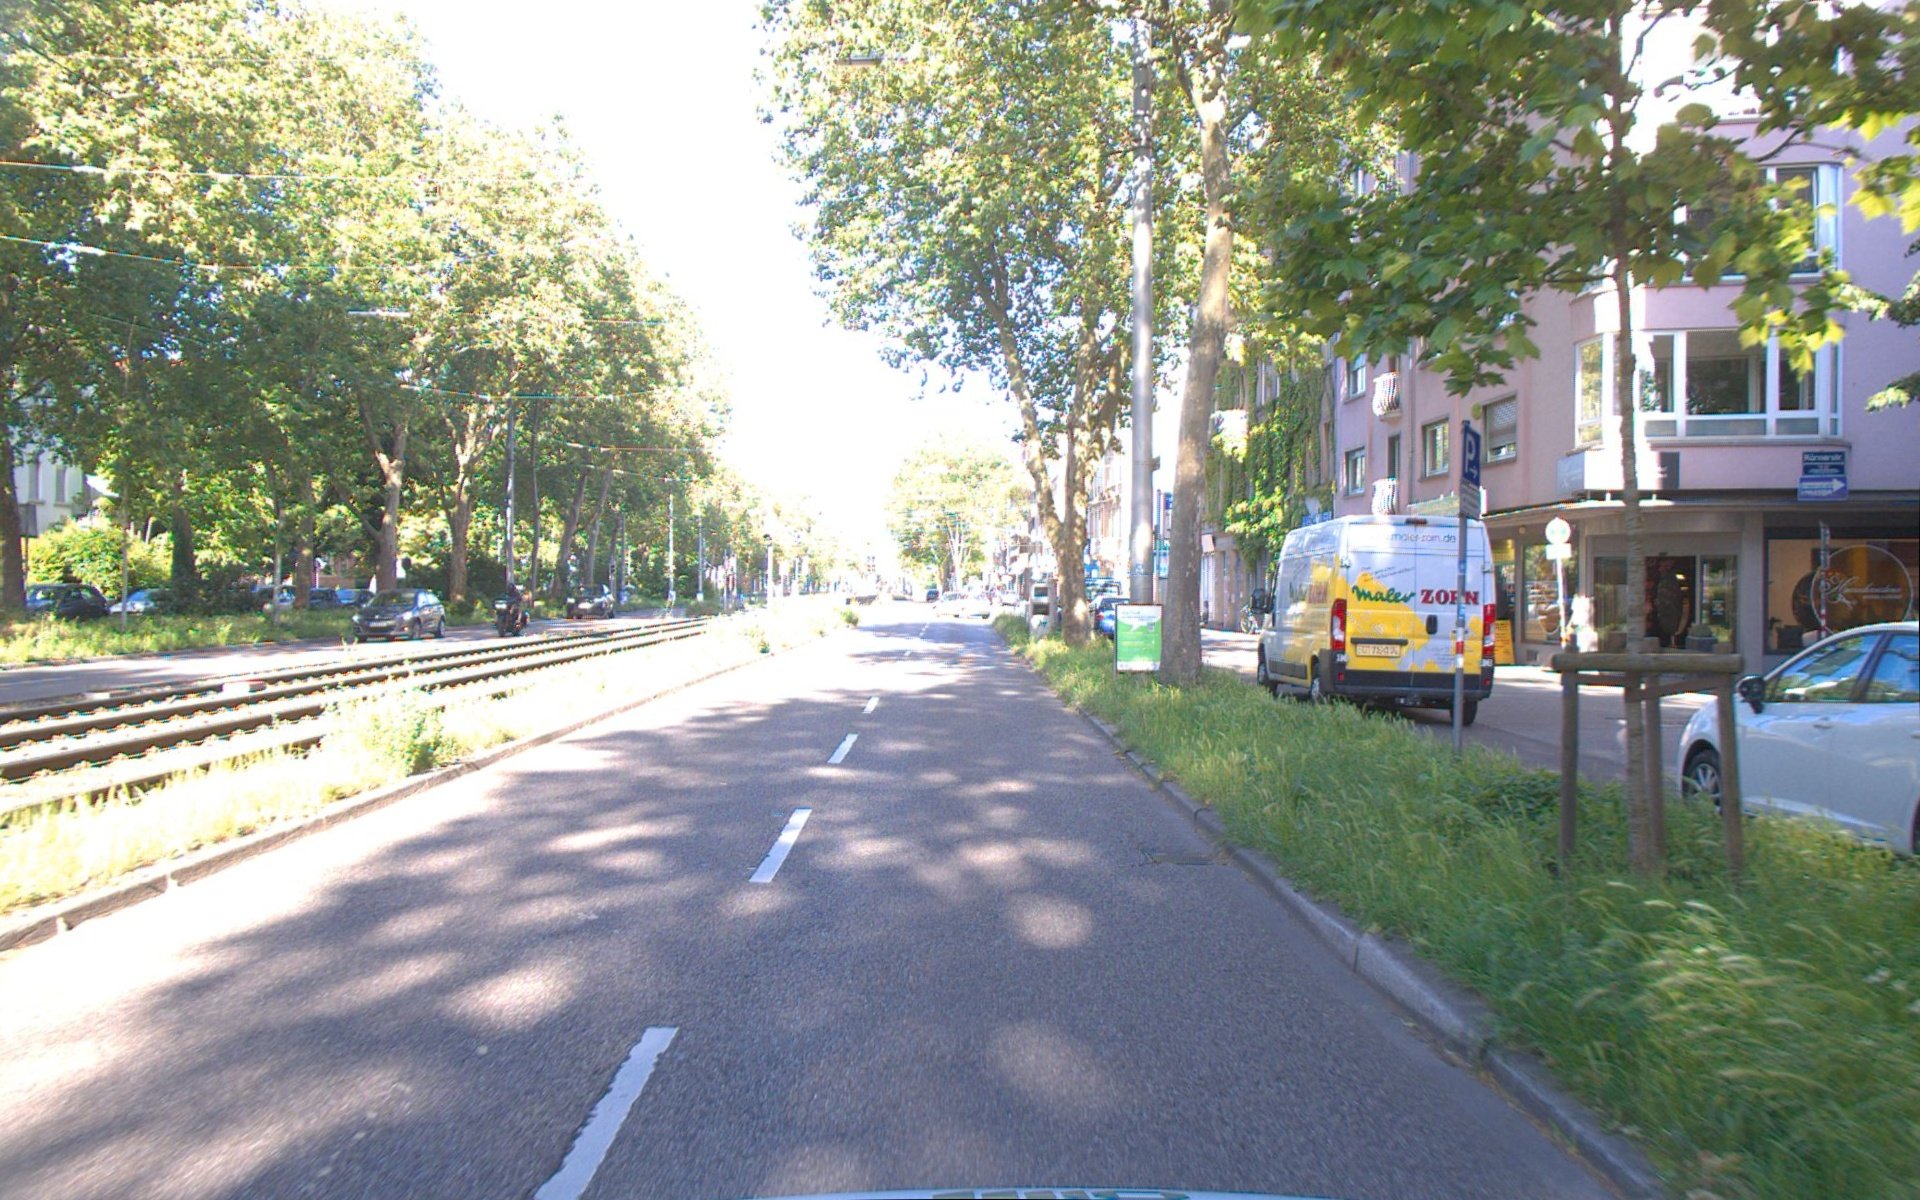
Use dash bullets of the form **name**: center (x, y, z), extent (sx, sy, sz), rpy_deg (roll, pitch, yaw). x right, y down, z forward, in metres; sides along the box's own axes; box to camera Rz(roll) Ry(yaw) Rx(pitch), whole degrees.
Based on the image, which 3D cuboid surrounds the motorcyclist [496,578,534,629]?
- **motorcyclist**: center (-13.749, 0.108, 51.110), extent (0.925, 1.540, 0.958), rpy_deg (0, 0, -1)

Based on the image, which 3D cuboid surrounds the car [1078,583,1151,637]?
- **car**: center (4.695, 0.290, 50.619), extent (1.649, 1.540, 3.664), rpy_deg (1, 0, -4)

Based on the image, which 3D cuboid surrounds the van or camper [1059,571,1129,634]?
- **van or camper**: center (4.469, 0.077, 55.836), extent (1.802, 1.997, 5.125), rpy_deg (1, 0, -2)

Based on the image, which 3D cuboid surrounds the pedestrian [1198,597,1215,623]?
- **pedestrian**: center (11.247, 0.439, 75.473), extent (0.693, 1.171, 0.740), rpy_deg (1, 0, 0)

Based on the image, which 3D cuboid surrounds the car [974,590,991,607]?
- **car**: center (2.154, -0.156, 159.154), extent (1.648, 1.535, 3.667), rpy_deg (1, 0, 0)

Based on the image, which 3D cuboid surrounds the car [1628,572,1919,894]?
- **car**: center (5.617, 0.710, 9.468), extent (1.718, 1.599, 4.183), rpy_deg (3, 0, -2)

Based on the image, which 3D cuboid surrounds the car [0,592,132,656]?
- **car**: center (-27.305, 0.698, 50.546), extent (1.783, 1.868, 4.553), rpy_deg (0, 0, -1)

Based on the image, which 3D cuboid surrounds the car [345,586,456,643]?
- **car**: center (-16.414, 0.424, 48.745), extent (1.759, 1.534, 4.338), rpy_deg (-2, 0, 0)

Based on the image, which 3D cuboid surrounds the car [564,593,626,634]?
- **car**: center (-18.049, 0.643, 82.030), extent (1.953, 1.903, 4.872), rpy_deg (-1, 0, 0)

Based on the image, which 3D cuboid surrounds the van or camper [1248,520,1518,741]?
- **van or camper**: center (5.571, 0.371, 22.761), extent (2.139, 2.523, 6.269), rpy_deg (3, 0, 1)

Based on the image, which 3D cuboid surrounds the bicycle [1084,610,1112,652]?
- **bicycle**: center (3.400, 0.756, 40.766), extent (0.576, 1.008, 1.450), rpy_deg (0, 0, 1)

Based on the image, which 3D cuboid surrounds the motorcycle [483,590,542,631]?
- **motorcycle**: center (-13.759, 0.304, 51.008), extent (0.944, 1.233, 3.351), rpy_deg (0, 0, -1)

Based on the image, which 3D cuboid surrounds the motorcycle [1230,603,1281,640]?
- **motorcycle**: center (11.041, 0.809, 61.858), extent (0.555, 1.290, 1.864), rpy_deg (4, 0, -45)

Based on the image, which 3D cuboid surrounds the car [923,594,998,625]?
- **car**: center (0.004, 0.539, 92.530), extent (3.933, 1.691, 2.014), rpy_deg (1, 0, 45)

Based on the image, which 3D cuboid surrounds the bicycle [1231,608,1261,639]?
- **bicycle**: center (11.100, 0.916, 64.281), extent (0.868, 1.154, 2.400), rpy_deg (0, 0, 3)

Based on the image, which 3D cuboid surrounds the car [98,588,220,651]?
- **car**: center (-27.452, 0.638, 56.882), extent (1.953, 2.049, 4.683), rpy_deg (0, 0, -1)

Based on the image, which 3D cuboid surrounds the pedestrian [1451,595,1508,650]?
- **pedestrian**: center (12.357, 0.526, 39.379), extent (1.120, 1.278, 0.749), rpy_deg (0, 0, -1)
